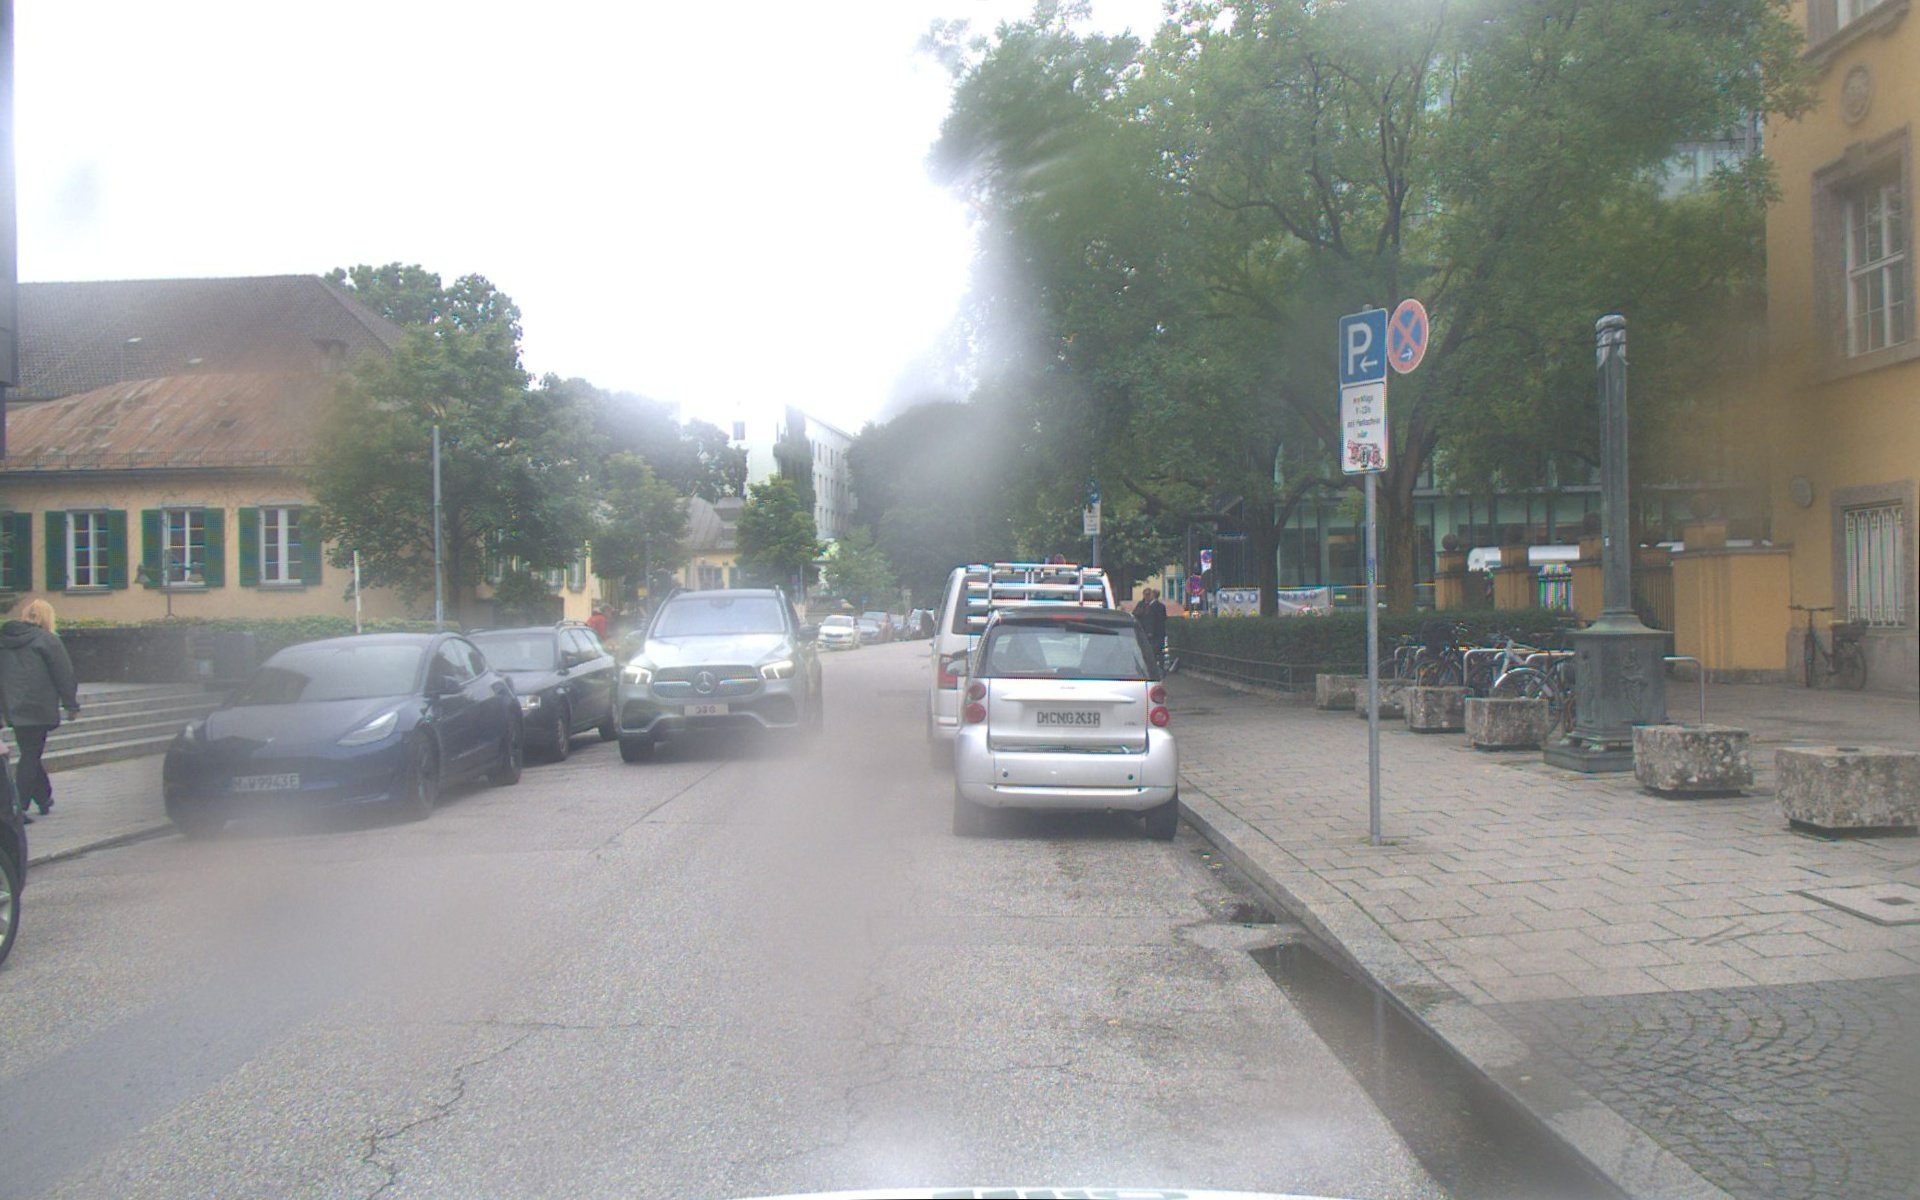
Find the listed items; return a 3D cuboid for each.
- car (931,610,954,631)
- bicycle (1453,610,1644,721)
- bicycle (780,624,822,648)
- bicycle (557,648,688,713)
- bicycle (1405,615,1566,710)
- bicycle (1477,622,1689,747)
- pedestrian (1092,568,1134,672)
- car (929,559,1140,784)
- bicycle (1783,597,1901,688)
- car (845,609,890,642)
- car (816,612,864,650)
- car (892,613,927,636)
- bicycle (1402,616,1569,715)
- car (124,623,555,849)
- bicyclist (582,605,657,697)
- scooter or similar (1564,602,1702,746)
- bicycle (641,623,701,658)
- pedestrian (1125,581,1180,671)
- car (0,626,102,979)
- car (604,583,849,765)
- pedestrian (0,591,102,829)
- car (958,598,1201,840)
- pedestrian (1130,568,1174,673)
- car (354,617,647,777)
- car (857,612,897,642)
[{"bbox_3d":[-1.497,1.722,142.060,1.773,1.712,4.001,-1,0,2],"label":"car"},{"bbox_3d":[6.485,0.713,18.264,1.892,1.133,0.471,-2,-1,1],"label":"bicycle"},{"bbox_3d":[-6.775,1.533,70.639,0.610,1.022,2.134,1,0,32],"label":"bicycle"},{"bbox_3d":[-5.708,1.358,28.030,2.114,1.022,0.616,0,-2,-34],"label":"bicycle"},{"bbox_3d":[6.782,0.797,21.373,1.892,1.133,0.471,-2,-1,1],"label":"bicycle"},{"bbox_3d":[6.129,0.822,16.312,1.893,1.133,0.471,-2,-1,-4],"label":"bicycle"},{"bbox_3d":[3.261,0.425,35.360,0.727,2.172,1.055,-2,-1,-1],"label":"pedestrian"},{"bbox_3d":[0.622,0.659,17.493,1.808,1.967,5.271,2,0,-2],"label":"car"},{"bbox_3d":[12.059,0.561,22.684,0.531,1.174,1.901,-2,0,-2],"label":"bicycle"},{"bbox_3d":[-4.871,1.346,87.760,1.952,1.677,4.656,-1,0,2],"label":"car"},{"bbox_3d":[-5.422,1.381,75.165,1.697,1.609,3.788,2,0,3],"label":"car"},{"bbox_3d":[-3.346,1.626,110.703,1.952,1.512,4.002,-1,0,4],"label":"car"},{"bbox_3d":[6.527,0.805,20.580,1.892,1.133,0.471,-2,-1,1],"label":"bicycle"},{"bbox_3d":[-4.918,0.983,13.977,1.884,1.464,4.915,-3,-1,-2],"label":"car"},{"bbox_3d":[-5.765,0.866,28.009,1.081,1.524,0.666,0,-3,-33],"label":"bicyclist"},{"bbox_3d":[6.102,0.664,15.022,0.995,1.243,0.534,-3,-1,45],"label":"scooter or similar"},{"bbox_3d":[-9.736,1.355,55.724,1.890,1.118,0.615,1,-1,2],"label":"bicycle"},{"bbox_3d":[4.221,0.569,36.274,0.729,1.941,1.052,-2,-1,35],"label":"pedestrian"},{"bbox_3d":[-4.962,0.903,5.678,1.704,1.486,4.237,-3,0,1],"label":"car"},{"bbox_3d":[-2.455,0.738,18.608,1.983,1.719,4.677,-2,0,1],"label":"car"},{"bbox_3d":[-7.236,0.834,12.933,0.741,1.780,0.948,-1,-1,-16],"label":"pedestrian"},{"bbox_3d":[0.787,0.794,12.393,1.573,1.573,2.933,1,0,0],"label":"car"},{"bbox_3d":[4.063,0.430,35.061,0.727,2.172,1.055,-2,-1,-1],"label":"pedestrian"},{"bbox_3d":[-5.126,1.013,19.235,1.953,1.517,4.883,-3,-1,0],"label":"car"},{"bbox_3d":[-4.622,1.519,92.842,1.952,1.631,4.000,-1,-1,1],"label":"car"}]
